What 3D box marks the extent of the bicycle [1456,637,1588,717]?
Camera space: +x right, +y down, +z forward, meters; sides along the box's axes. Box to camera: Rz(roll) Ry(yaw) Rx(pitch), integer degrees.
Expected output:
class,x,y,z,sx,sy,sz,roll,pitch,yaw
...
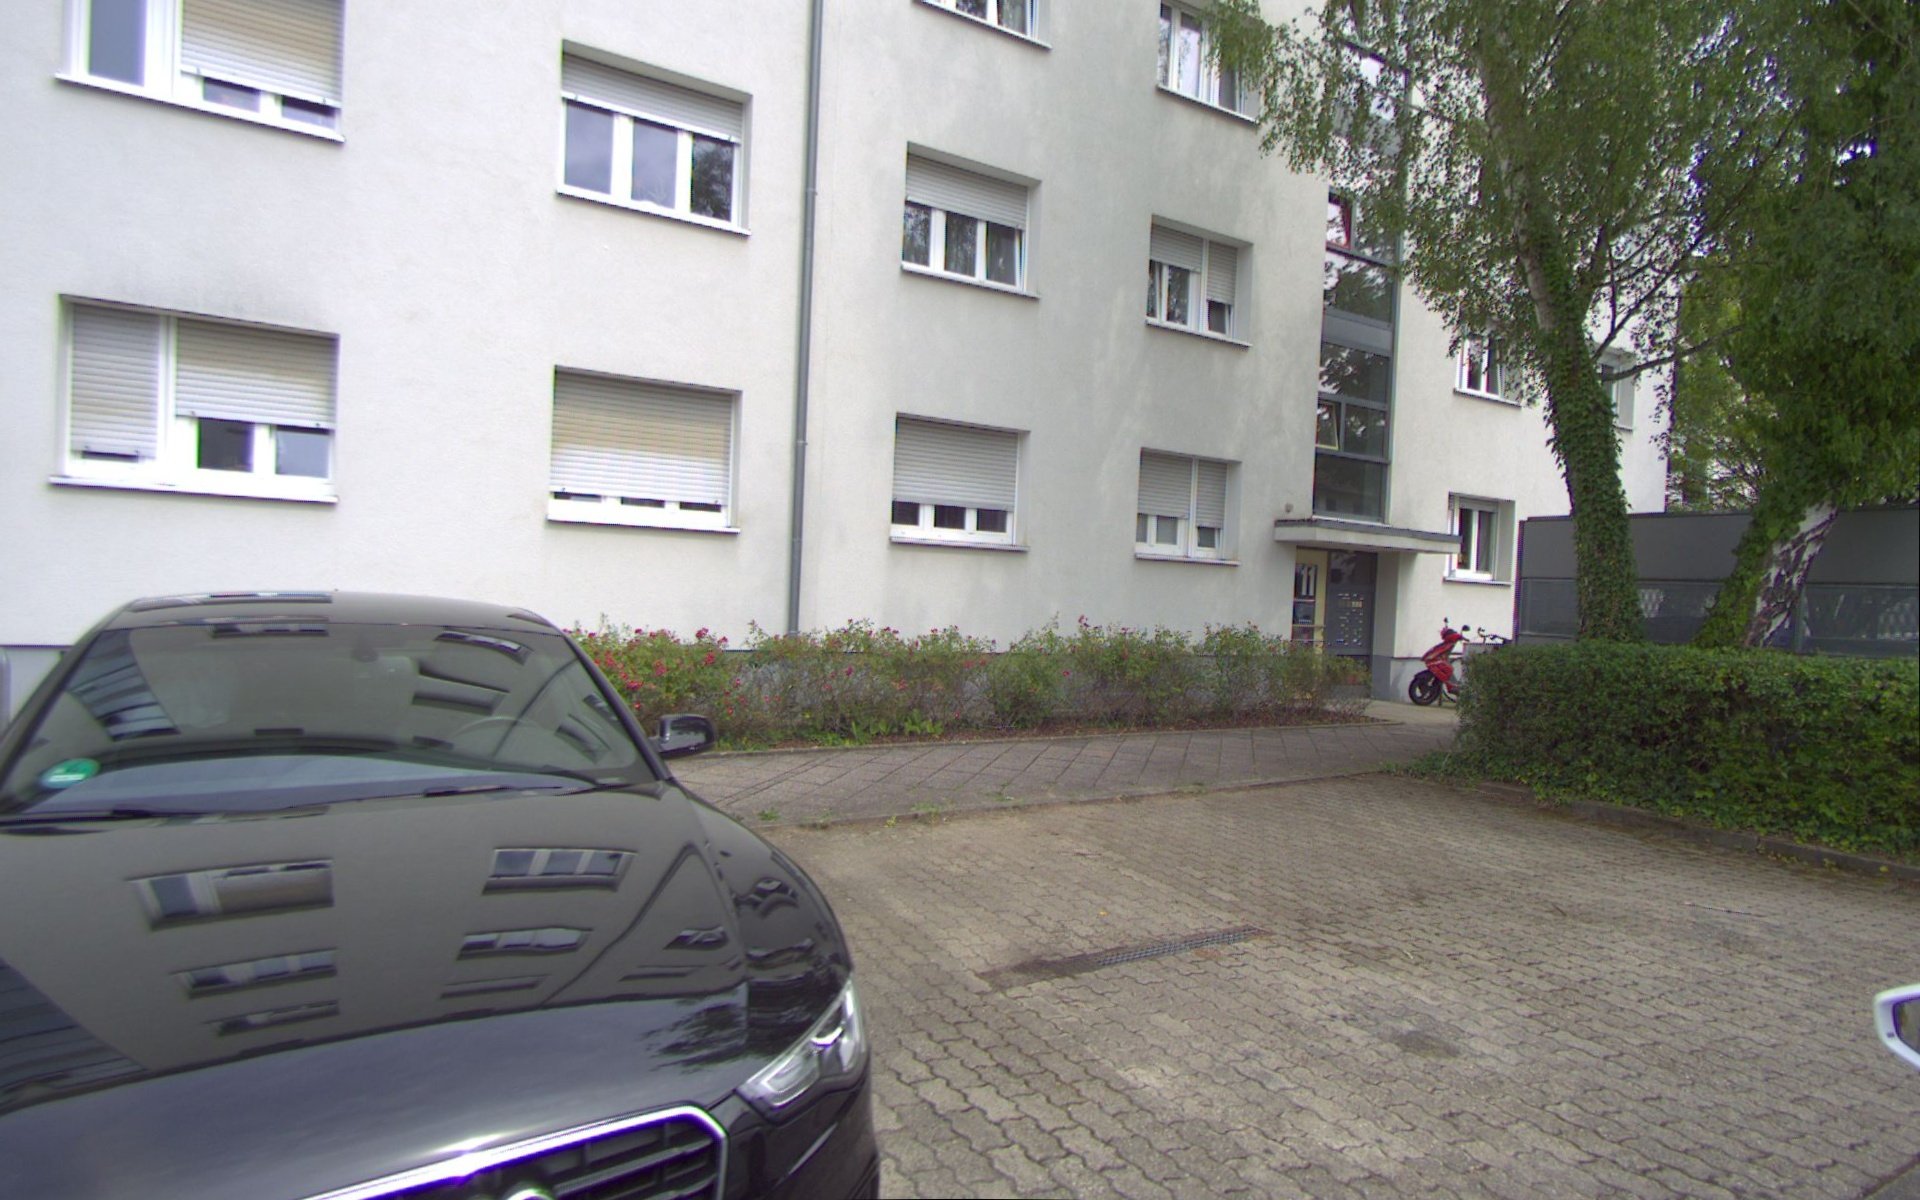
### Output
class,x,y,z,sx,sy,sz,roll,pitch,yaw
bicycle,8.262,1.105,14.800,1.638,1.017,0.576,2,1,32

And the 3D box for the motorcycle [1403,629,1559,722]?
class,x,y,z,sx,sy,sz,roll,pitch,yaw
motorcycle,7.276,1.023,14.101,1.864,1.138,0.676,2,1,27

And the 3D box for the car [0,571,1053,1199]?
class,x,y,z,sx,sy,sz,roll,pitch,yaw
car,-1.835,0.668,3.072,1.903,1.394,4.296,2,1,-34

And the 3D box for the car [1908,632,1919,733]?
class,x,y,z,sx,sy,sz,roll,pitch,yaw
car,16.245,1.320,13.745,1.819,1.522,4.393,2,0,-29

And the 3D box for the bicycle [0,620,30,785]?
class,x,y,z,sx,sy,sz,roll,pitch,yaw
bicycle,-6.377,0.599,6.321,1.362,0.970,0.393,3,1,31
